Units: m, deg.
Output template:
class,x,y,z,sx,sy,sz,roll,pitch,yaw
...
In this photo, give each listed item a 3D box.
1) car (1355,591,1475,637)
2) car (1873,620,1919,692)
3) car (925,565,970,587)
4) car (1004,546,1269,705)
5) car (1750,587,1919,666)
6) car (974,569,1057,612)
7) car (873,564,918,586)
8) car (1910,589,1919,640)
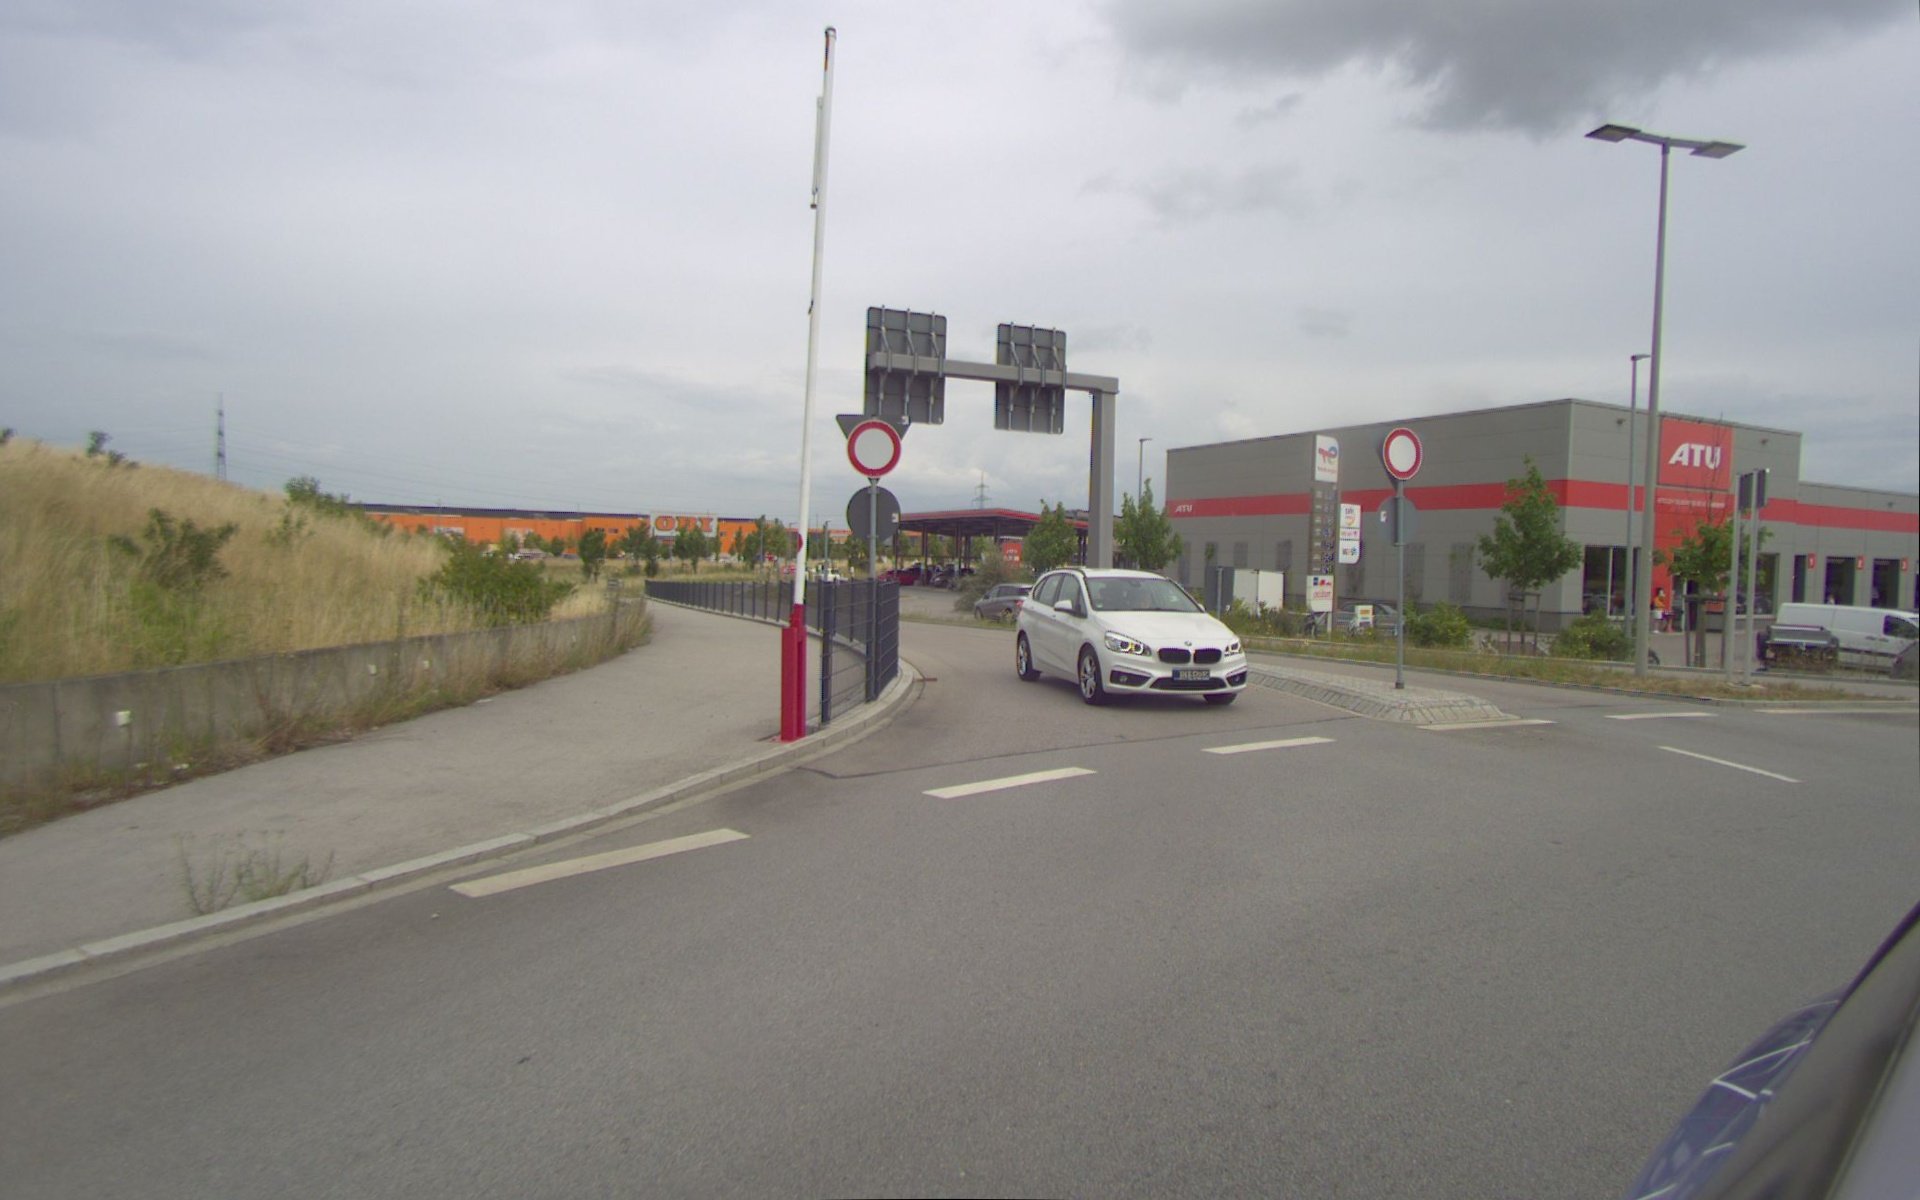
class,x,y,z,sx,sy,sz,roll,pitch,yaw
car,16.478,0.481,36.847,3.684,1.594,1.909,0,0,15
car,24.945,1.487,23.730,1.926,1.696,4.843,1,3,-29
car,-1.102,-2.105,90.096,3.770,1.816,1.714,2,0,-40
car,1.984,0.207,12.850,1.747,1.649,4.437,1,2,-12
car,27.482,0.761,30.722,1.960,2.072,5.087,1,3,-29
car,2.147,-0.366,40.203,1.877,1.594,4.008,-1,1,-20
car,-5.823,-2.233,92.060,3.770,1.816,1.714,2,0,-40
car,36.549,0.582,35.648,1.559,1.859,4.207,1,1,-29
